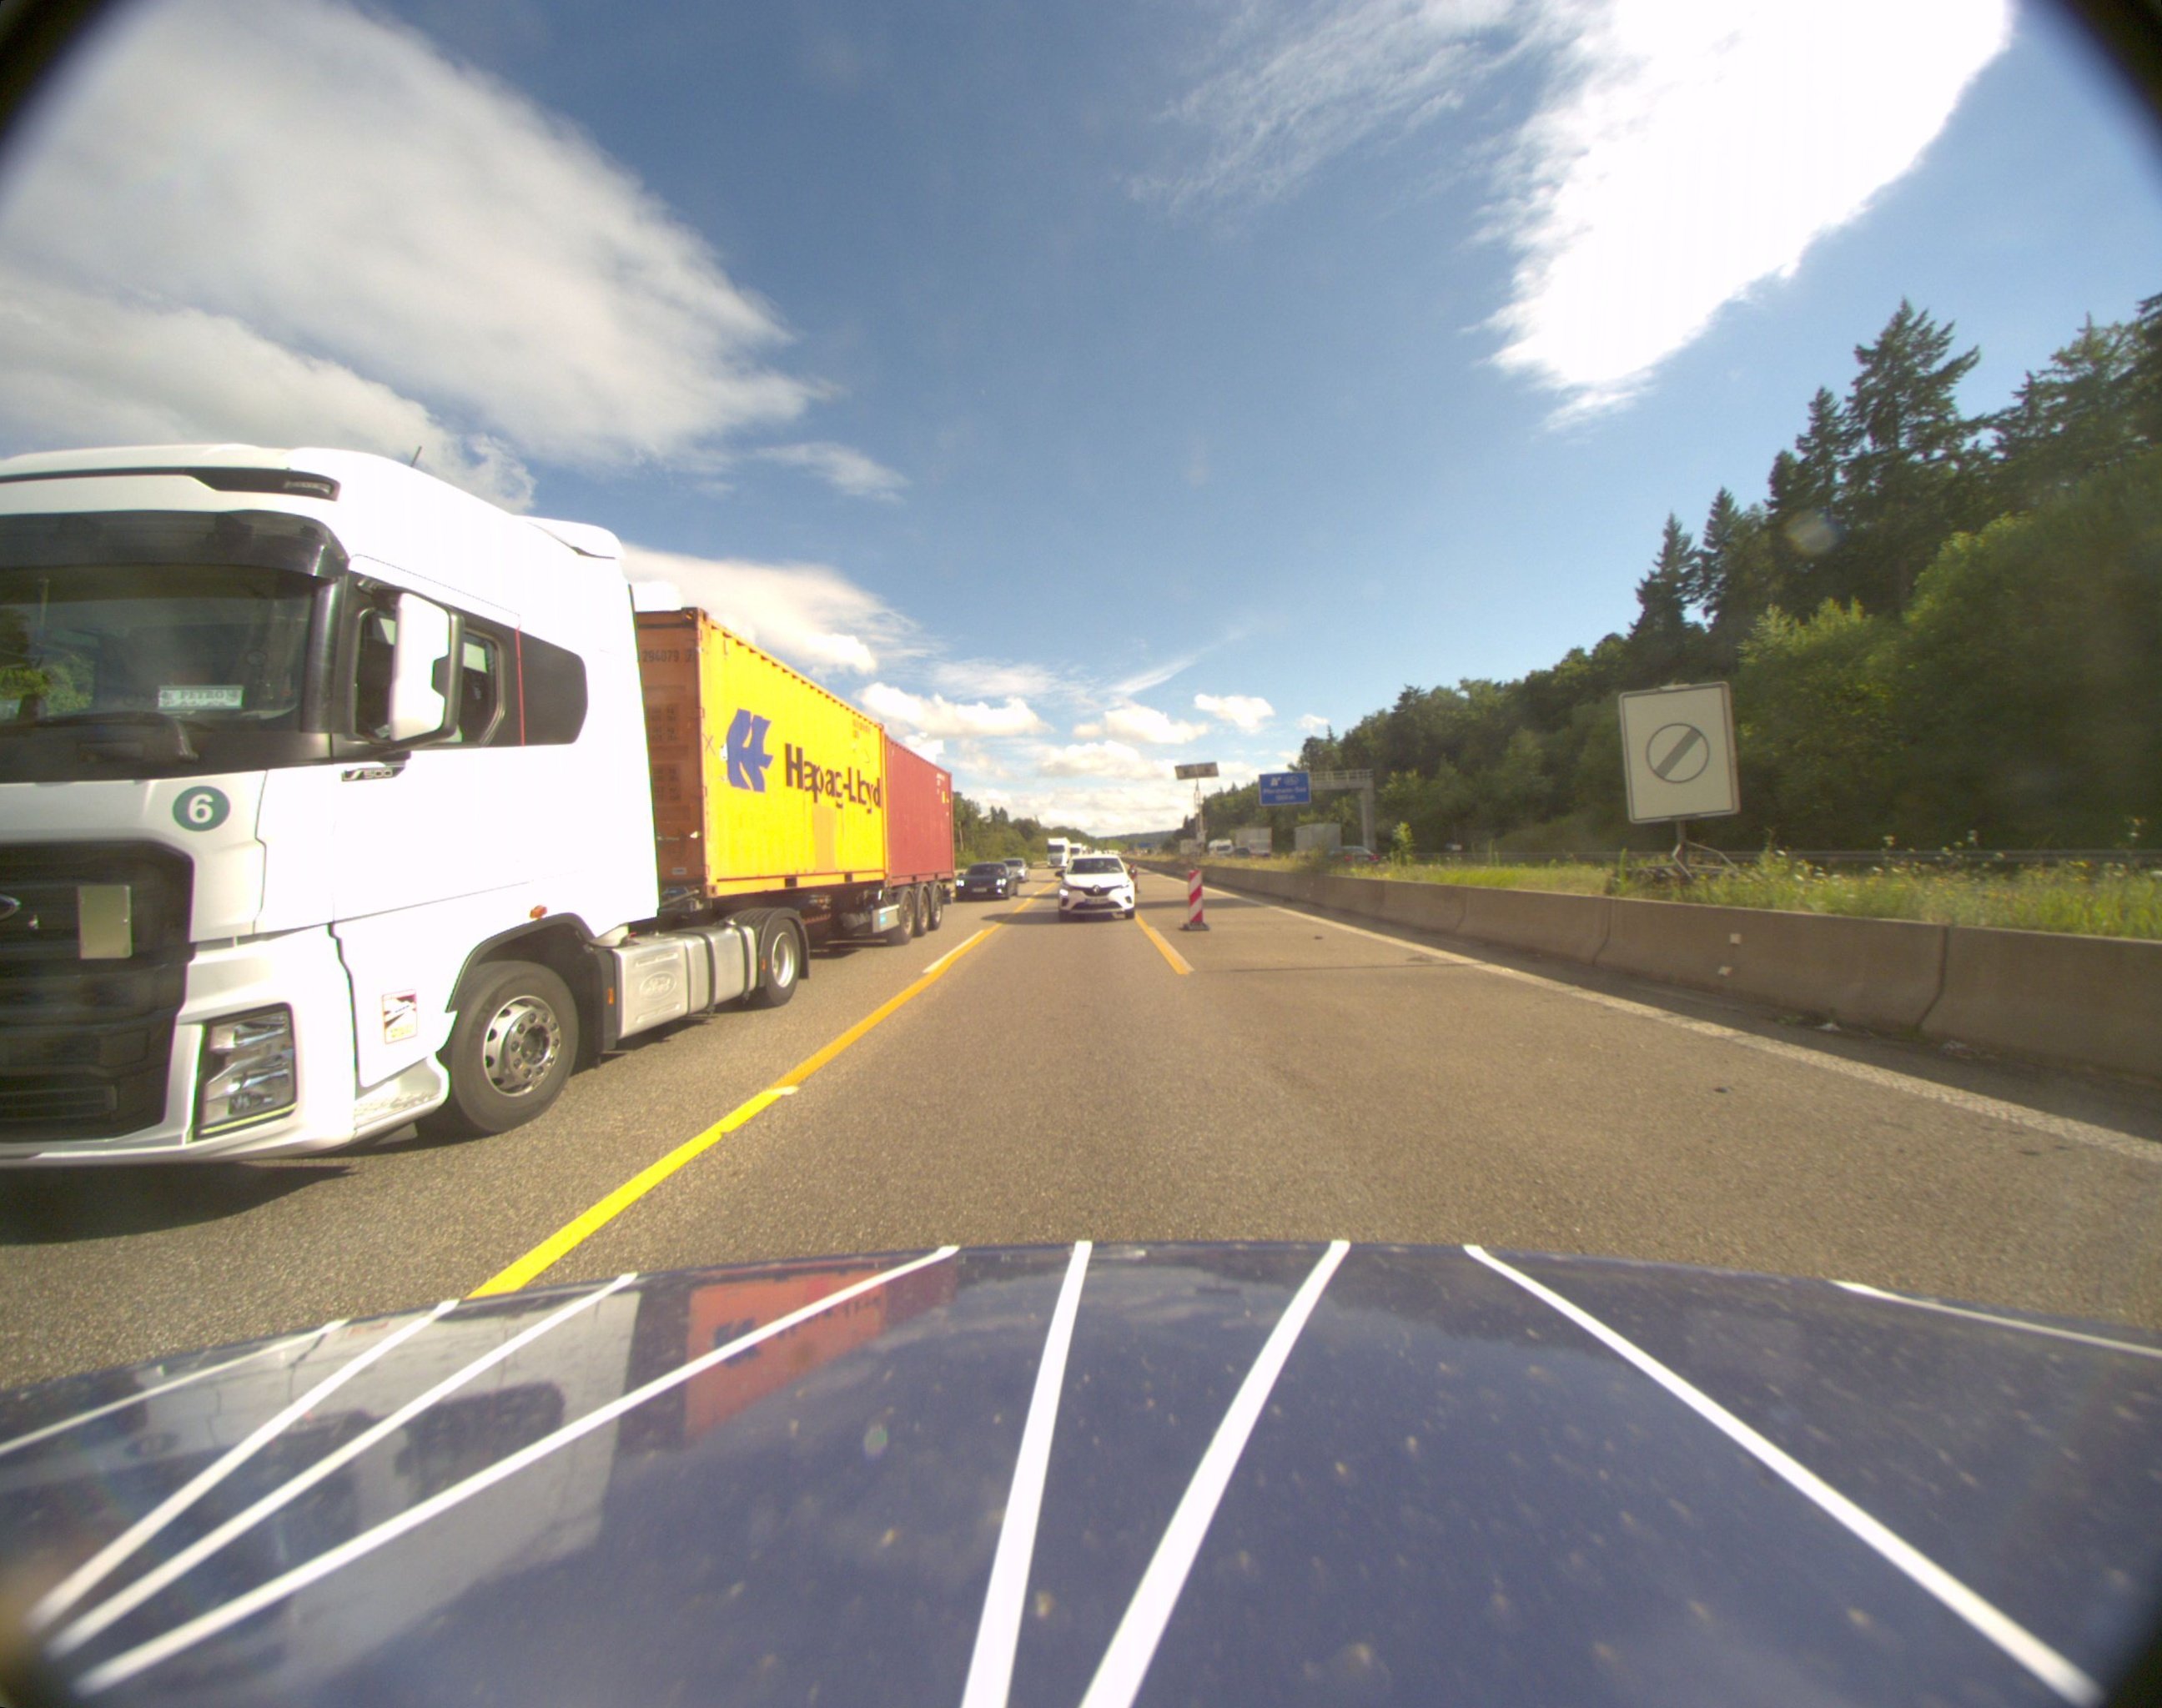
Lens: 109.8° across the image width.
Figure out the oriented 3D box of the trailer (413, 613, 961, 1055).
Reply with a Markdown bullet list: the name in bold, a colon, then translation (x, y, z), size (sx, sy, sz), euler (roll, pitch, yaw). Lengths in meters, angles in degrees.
- **trailer**: translation (-4.386, -0.193, 12.686), size (2.477, 3.753, 12.135), euler (-2, 0, 1)

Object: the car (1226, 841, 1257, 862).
- **car**: translation (14.569, -0.276, 69.234), size (1.949, 1.802, 4.118), euler (-2, 1, 1)

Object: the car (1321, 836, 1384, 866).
- **car**: translation (14.084, -0.172, 39.632), size (1.783, 1.379, 4.310), euler (-2, 1, 1)

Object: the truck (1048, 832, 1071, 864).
- **truck**: translation (-2.863, -0.795, 104.863), size (2.641, 4.092, 8.195), euler (-2, 0, 1)

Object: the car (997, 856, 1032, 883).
- **car**: translation (-4.105, 0.928, 47.417), size (1.762, 1.471, 3.967), euler (-2, 1, 1)

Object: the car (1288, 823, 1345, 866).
- **car**: translation (19.967, -0.814, 64.968), size (2.493, 3.351, 7.451), euler (-2, 1, 0)

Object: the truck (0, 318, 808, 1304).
- **truck**: translation (-4.509, -0.138, 5.830), size (2.501, 3.759, 5.789), euler (-2, 1, 1)

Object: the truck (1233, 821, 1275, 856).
- **truck**: translation (20.732, -1.787, 91.508), size (2.807, 3.969, 10.185), euler (-2, 0, 1)

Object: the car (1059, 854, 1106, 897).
- **car**: translation (0.103, 0.782, 29.817), size (1.692, 1.471, 3.754), euler (-2, 1, 1)

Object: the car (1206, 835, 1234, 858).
- **car**: translation (16.234, -0.881, 88.901), size (2.165, 2.437, 6.331), euler (-2, 1, 1)

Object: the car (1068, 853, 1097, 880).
- **car**: translation (0.130, 0.774, 47.589), size (1.633, 1.548, 3.754), euler (-2, 0, 2)

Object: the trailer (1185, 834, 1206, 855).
- **trailer**: translation (22.987, -1.945, 153.032), size (2.797, 3.901, 8.487), euler (-2, 1, 1)

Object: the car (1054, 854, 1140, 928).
- **car**: translation (0.337, 0.827, 18.806), size (1.840, 1.528, 3.882), euler (-2, 1, -1)

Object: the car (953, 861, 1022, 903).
- **car**: translation (-3.491, 1.007, 29.202), size (1.933, 1.342, 4.477), euler (-2, 0, 1)

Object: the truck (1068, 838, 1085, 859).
- **truck**: translation (-0.852, -1.046, 154.107), size (2.640, 4.092, 8.196), euler (-2, 0, 3)
